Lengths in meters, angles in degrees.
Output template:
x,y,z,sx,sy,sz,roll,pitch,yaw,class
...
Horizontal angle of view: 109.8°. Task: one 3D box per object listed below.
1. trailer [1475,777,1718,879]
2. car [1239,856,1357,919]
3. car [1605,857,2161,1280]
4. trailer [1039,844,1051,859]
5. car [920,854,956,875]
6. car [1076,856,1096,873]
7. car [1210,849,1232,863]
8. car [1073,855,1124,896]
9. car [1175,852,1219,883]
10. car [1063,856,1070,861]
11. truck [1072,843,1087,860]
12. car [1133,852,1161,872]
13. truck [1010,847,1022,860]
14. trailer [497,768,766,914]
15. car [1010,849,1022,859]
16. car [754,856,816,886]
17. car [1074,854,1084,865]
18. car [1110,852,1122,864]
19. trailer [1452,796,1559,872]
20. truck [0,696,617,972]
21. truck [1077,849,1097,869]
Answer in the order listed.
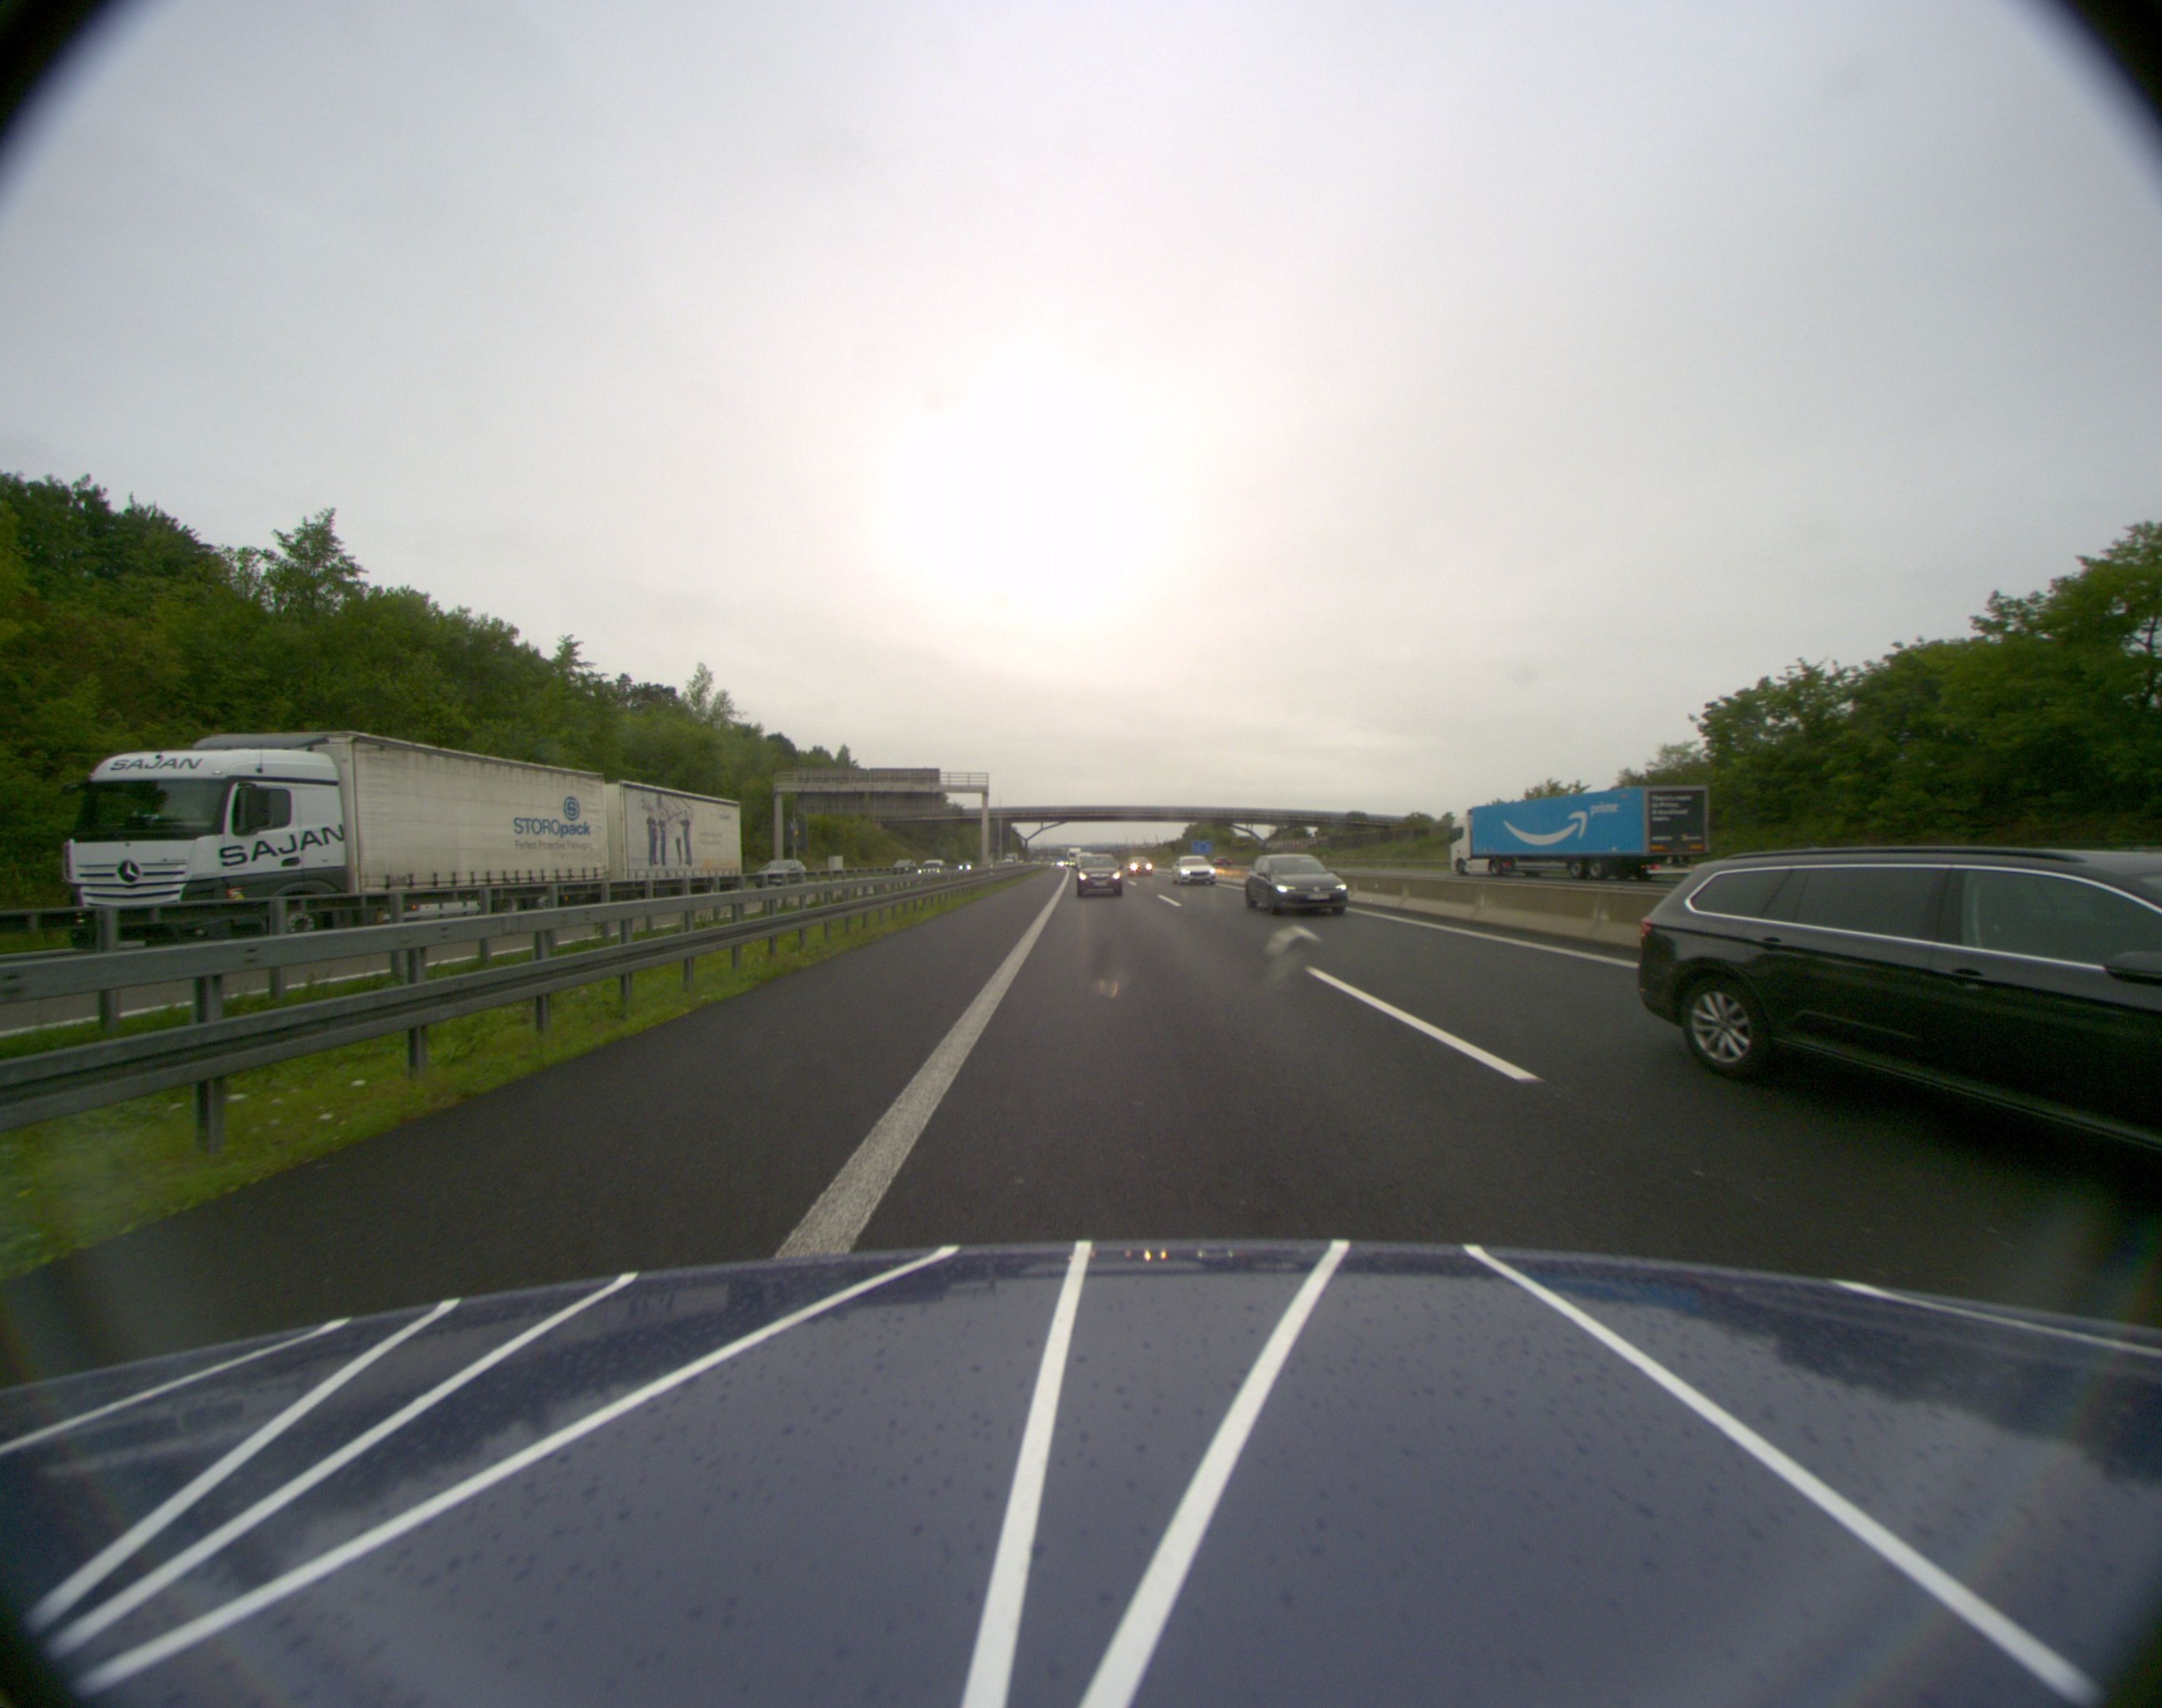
x,y,z,sx,sy,sz,roll,pitch,yaw,class
24.311,-1.079,37.414,2.796,4.060,13.525,-1,0,0,trailer
5.471,0.785,19.761,1.905,1.397,4.459,-1,0,2,car
4.918,0.798,3.359,1.905,1.488,4.851,-1,0,1,car
-9.409,-0.578,199.845,2.547,3.799,11.329,-1,0,0,trailer
-10.689,0.781,56.949,1.864,1.439,4.157,-1,1,0,car
0.562,1.076,80.952,1.825,1.669,4.001,-1,1,4,car
16.595,0.227,90.110,1.980,1.562,4.502,-1,0,4,car
0.796,0.829,30.985,1.905,1.497,4.115,-1,0,3,car
5.994,0.660,39.547,1.905,1.497,4.115,-1,0,4,car
-4.894,1.473,253.510,1.916,1.671,4.000,-1,1,3,car
-0.273,-0.572,165.283,3.153,3.332,13.099,-1,1,1,truck
5.220,0.613,60.517,1.905,1.497,4.114,-1,0,0,car
-17.339,-0.257,203.139,2.909,3.397,9.279,-1,1,-2,truck
-15.455,-0.401,27.679,3.446,4.264,10.453,-1,0,0,trailer
-11.938,-0.012,139.835,1.864,1.795,4.647,-1,1,0,car
-17.919,0.993,46.219,1.864,1.605,4.499,-1,1,2,car
-0.329,0.955,130.883,1.715,1.724,4.000,-1,0,1,car
5.301,0.580,116.510,1.715,1.724,4.000,-1,0,1,car
24.336,-1.100,43.983,2.796,4.060,6.042,-1,0,0,trailer
-15.478,-0.329,17.171,3.446,4.264,10.417,-1,0,0,truck
0.681,0.554,87.947,2.175,2.214,5.642,-1,0,0,truck
